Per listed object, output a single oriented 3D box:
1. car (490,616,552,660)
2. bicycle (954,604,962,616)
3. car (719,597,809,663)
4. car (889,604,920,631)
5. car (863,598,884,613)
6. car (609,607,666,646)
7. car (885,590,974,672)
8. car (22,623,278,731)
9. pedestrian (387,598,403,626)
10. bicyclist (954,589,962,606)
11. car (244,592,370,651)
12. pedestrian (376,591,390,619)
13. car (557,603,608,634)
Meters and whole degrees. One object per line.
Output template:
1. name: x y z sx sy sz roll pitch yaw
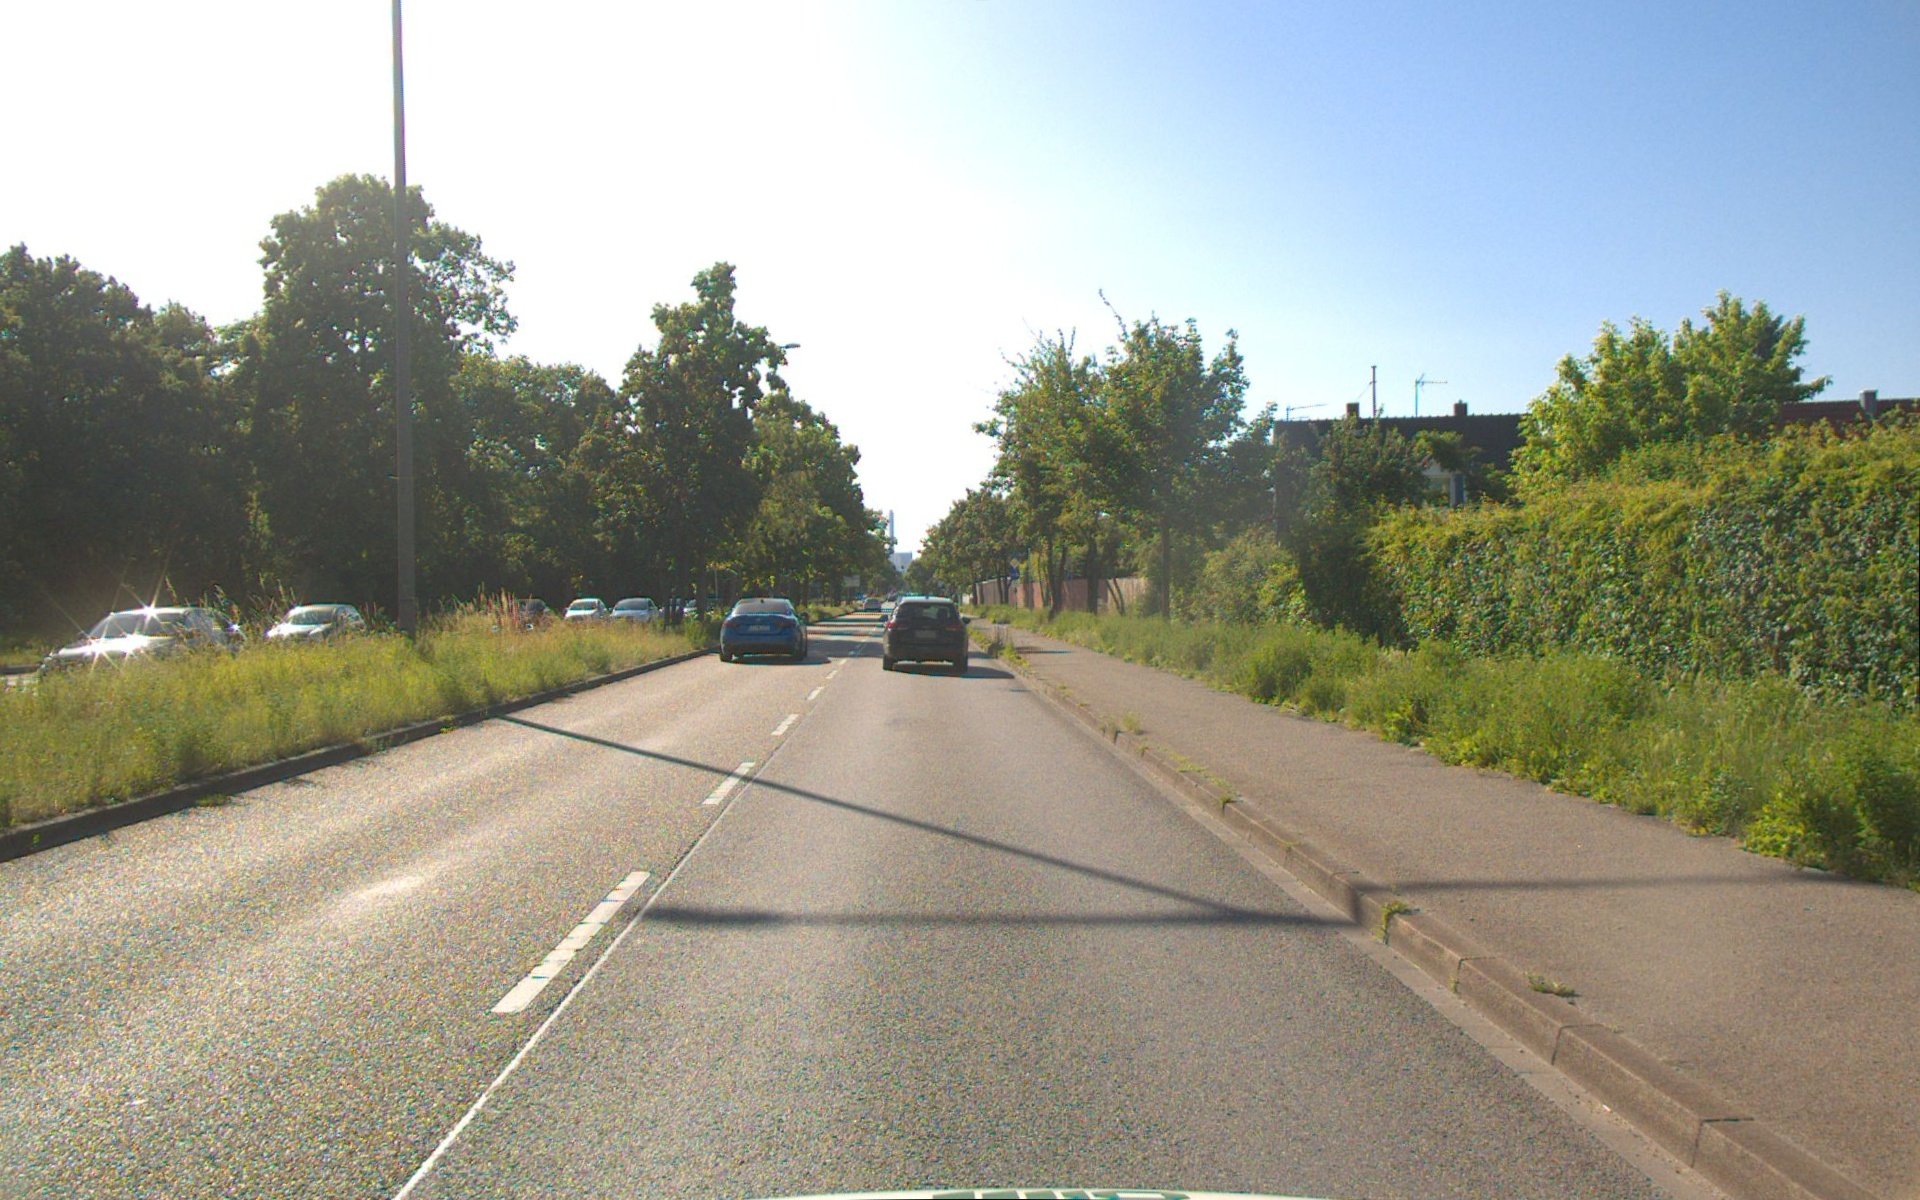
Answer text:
1. car: -17.861 1.536 67.432 1.572 1.590 3.998 -3 1 -3
2. bicycle: -0.152 0.843 139.063 0.642 0.908 1.874 -1 1 -2
3. car: -4.549 0.655 38.637 1.956 1.429 3.995 0 0 -6
4. car: -3.648 1.139 108.014 1.710 1.625 4.169 0 1 -6
5. car: -8.727 0.561 167.166 1.940 1.465 3.996 -1 1 -6
6. car: -14.130 1.125 72.735 1.679 1.630 4.358 -1 0 -1
7. car: -0.631 0.614 34.550 1.725 1.586 3.999 1 0 -1
8. car: -12.672 1.140 26.277 1.746 1.384 4.977 -2 0 -2
9. pedestrian: -30.154 0.634 88.307 0.533 1.485 0.917 -1 0 -2
10. bicyclist: -0.149 -0.183 139.162 0.666 1.443 0.812 0 0 -2
11. car: -17.724 0.546 45.102 1.769 1.526 4.594 0 0 -3
12. pedestrian: -30.755 0.270 88.217 0.533 1.485 0.595 0 0 -2
13. car: -18.796 0.905 82.467 1.801 1.437 3.997 0 0 -3
